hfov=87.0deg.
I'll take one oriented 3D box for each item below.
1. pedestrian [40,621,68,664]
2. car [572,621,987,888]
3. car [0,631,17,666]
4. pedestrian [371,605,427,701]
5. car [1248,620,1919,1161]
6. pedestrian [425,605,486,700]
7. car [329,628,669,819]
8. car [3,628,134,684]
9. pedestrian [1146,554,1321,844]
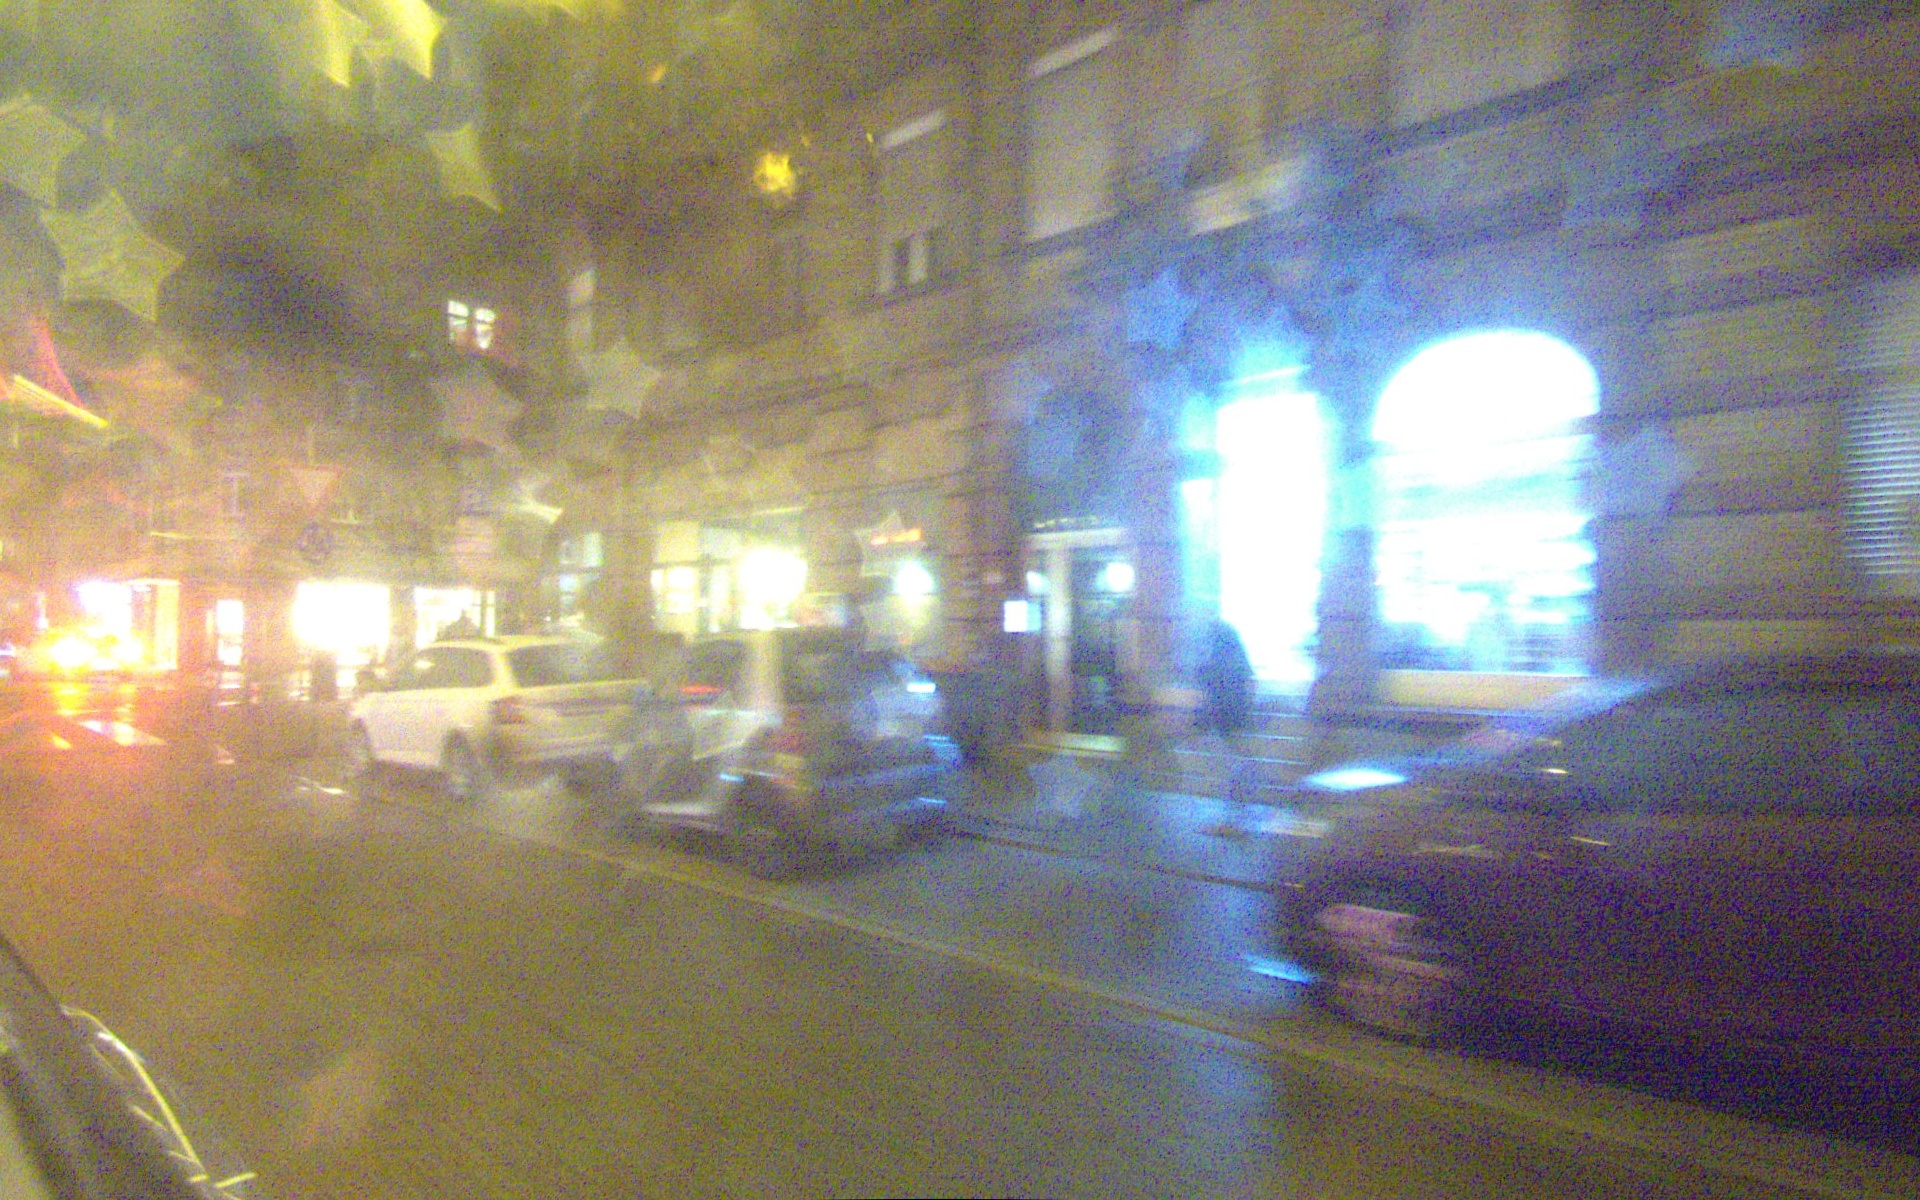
[{"bbox_3d":[-38.689,1.809,43.219,0.815,1.784,0.601,0,-1,-37],"label":"pedestrian"},{"bbox_3d":[-1.378,0.929,7.327,2.786,1.521,1.570,-2,-2,41],"label":"car"},{"bbox_3d":[-42.533,2.100,43.939,5.028,1.490,1.827,-2,-2,41],"label":"car"},{"bbox_3d":[-11.305,1.066,20.398,0.786,1.872,0.948,4,-4,-36],"label":"pedestrian"},{"bbox_3d":[2.981,0.803,3.468,3.501,1.460,1.570,-2,-2,41],"label":"car"},{"bbox_3d":[-9.882,1.003,19.807,0.794,1.779,1.017,-1,0,-43],"label":"pedestrian"},{"bbox_3d":[-4.760,1.071,10.179,4.022,1.474,1.570,-2,0,41],"label":"car"},{"bbox_3d":[-24.860,1.525,28.196,4.054,1.438,1.551,0,-2,31],"label":"car"},{"bbox_3d":[1.978,0.646,7.254,0.973,1.879,1.025,-1,0,29],"label":"pedestrian"}]
